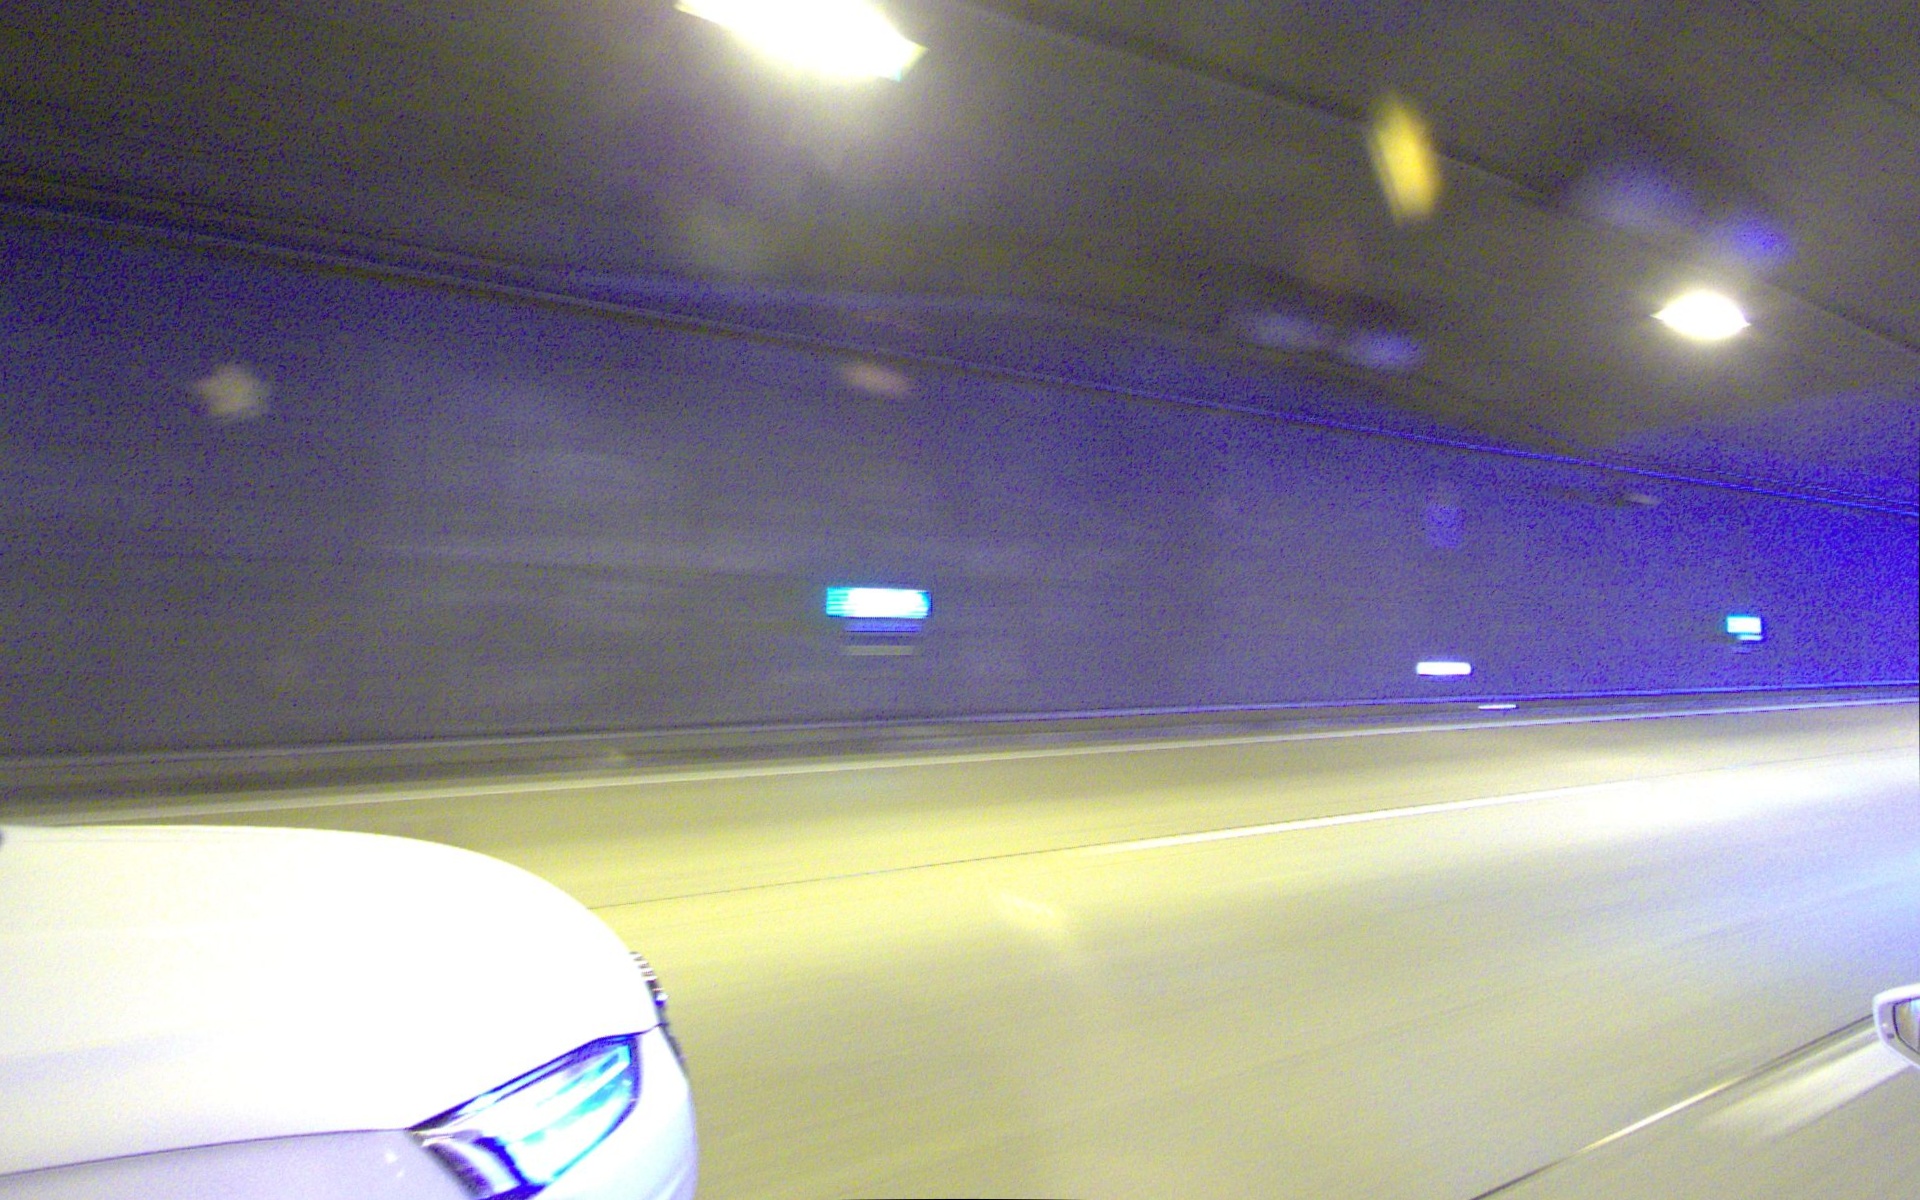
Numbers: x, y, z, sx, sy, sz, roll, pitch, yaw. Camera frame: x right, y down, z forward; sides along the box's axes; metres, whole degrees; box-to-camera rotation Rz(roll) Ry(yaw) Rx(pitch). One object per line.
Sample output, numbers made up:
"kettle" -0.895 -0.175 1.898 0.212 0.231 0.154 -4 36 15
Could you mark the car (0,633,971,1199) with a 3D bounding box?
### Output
"car" -2.566 0.756 1.084 5.002 1.437 1.694 2 -1 -31
